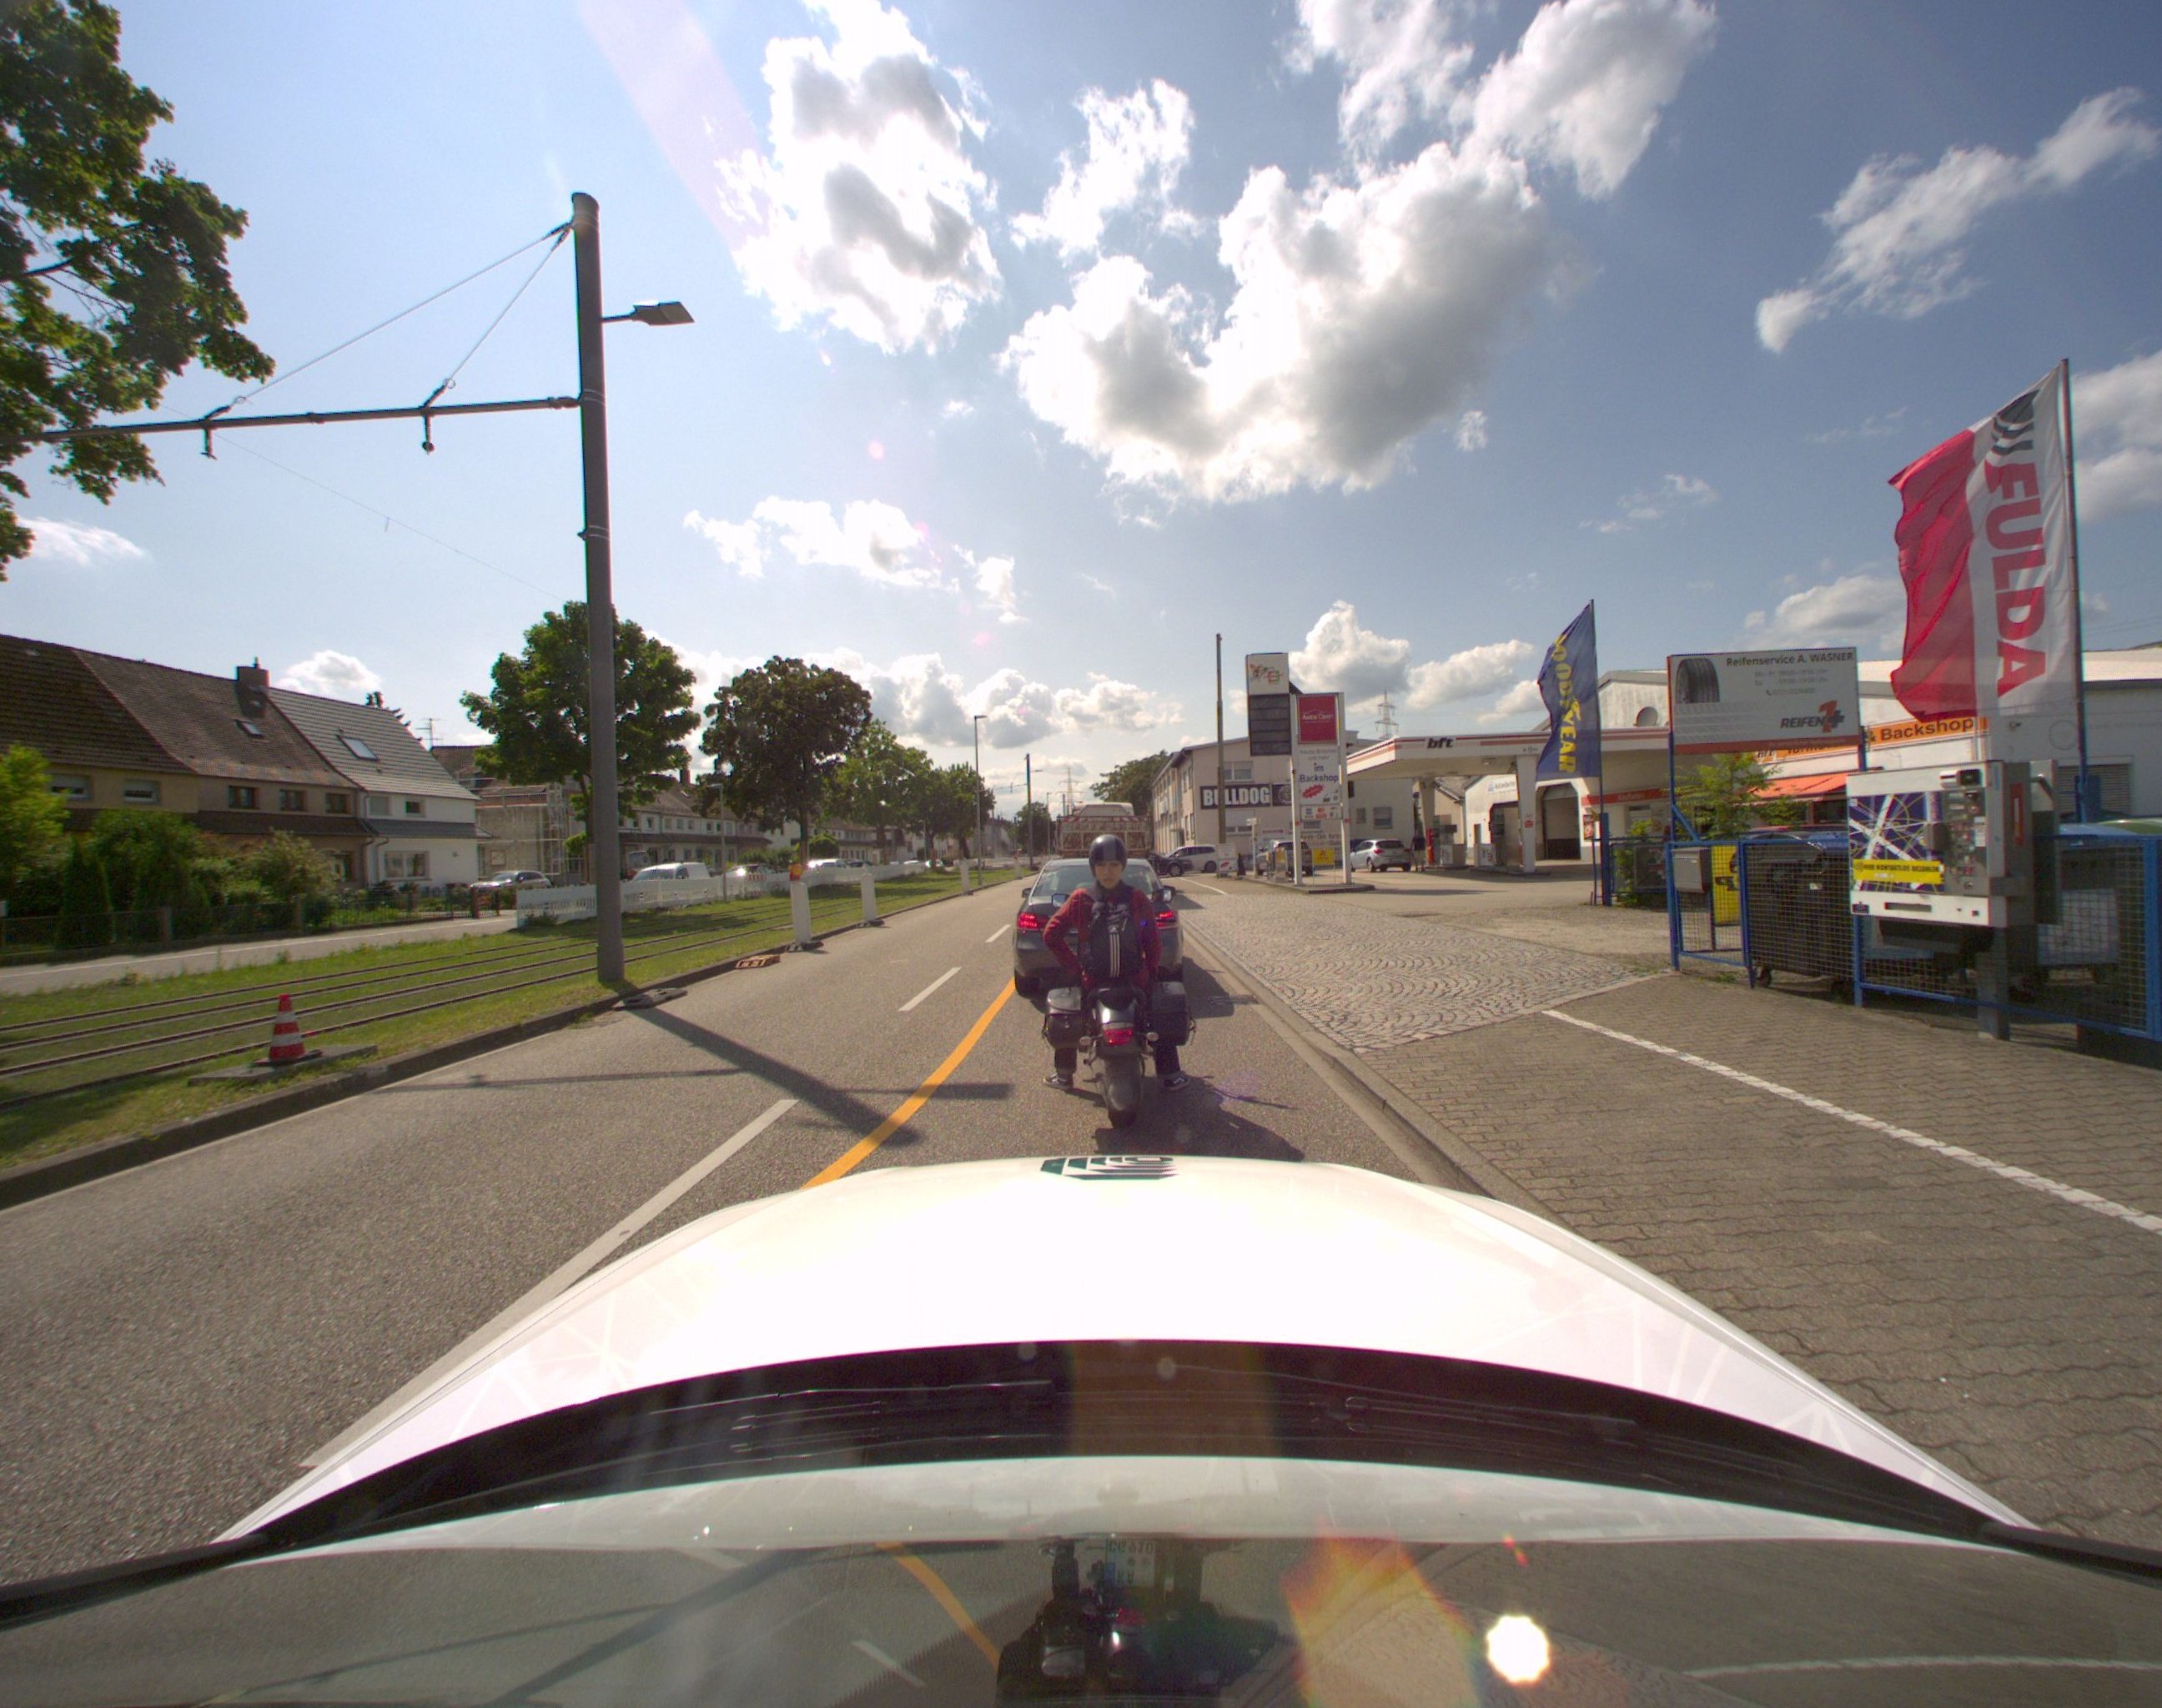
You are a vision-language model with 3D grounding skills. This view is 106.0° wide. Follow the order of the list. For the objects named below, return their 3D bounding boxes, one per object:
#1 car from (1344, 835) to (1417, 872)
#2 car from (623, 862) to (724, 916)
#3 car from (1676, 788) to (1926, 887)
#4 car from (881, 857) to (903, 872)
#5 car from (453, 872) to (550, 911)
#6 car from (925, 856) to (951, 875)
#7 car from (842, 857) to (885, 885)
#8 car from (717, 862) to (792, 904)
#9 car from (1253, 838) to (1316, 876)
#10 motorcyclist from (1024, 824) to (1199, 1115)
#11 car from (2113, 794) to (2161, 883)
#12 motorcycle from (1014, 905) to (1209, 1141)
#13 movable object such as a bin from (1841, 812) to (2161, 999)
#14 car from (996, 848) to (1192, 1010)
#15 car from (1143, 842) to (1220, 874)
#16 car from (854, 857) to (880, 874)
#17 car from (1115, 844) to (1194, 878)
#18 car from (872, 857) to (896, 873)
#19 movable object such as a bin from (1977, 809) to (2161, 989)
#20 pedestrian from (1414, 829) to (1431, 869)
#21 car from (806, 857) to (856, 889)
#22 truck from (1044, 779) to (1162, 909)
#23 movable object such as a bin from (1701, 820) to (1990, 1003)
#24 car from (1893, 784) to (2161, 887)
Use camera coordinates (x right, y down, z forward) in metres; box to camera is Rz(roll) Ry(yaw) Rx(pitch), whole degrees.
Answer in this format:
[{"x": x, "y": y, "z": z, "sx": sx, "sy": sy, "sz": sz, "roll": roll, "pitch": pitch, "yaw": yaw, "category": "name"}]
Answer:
[{"x": 13.538, "y": -0.024, "z": 37.069, "sx": 1.826, "sy": 1.479, "sz": 4.009, "roll": -3, "pitch": 0, "yaw": 1, "category": "car"}, {"x": -15.419, "y": 1.275, "z": 31.059, "sx": 1.692, "sy": 1.817, "sz": 3.862, "roll": -2, "pitch": 0, "yaw": 2, "category": "car"}, {"x": 16.600, "y": -0.372, "z": 18.962, "sx": 3.972, "sy": 2.013, "sz": 2.001, "roll": -2, "pitch": 0, "yaw": 1, "category": "car"}, {"x": -24.373, "y": 1.343, "z": 105.369, "sx": 1.692, "sy": 1.739, "sz": 4.064, "roll": -2, "pitch": 0, "yaw": 2, "category": "car"}, {"x": -27.479, "y": 1.727, "z": 38.797, "sx": 1.692, "sy": 1.593, "sz": 3.862, "roll": -2, "pitch": 0, "yaw": 2, "category": "car"}, {"x": -14.059, "y": 1.146, "z": 80.183, "sx": 1.692, "sy": 1.739, "sz": 3.862, "roll": -2, "pitch": 0, "yaw": 2, "category": "car"}, {"x": -14.866, "y": 1.138, "z": 55.761, "sx": 1.692, "sy": 1.739, "sz": 3.862, "roll": -2, "pitch": 0, "yaw": 2, "category": "car"}, {"x": -15.326, "y": 1.322, "z": 38.490, "sx": 1.692, "sy": 1.739, "sz": 4.056, "roll": -2, "pitch": 0, "yaw": 2, "category": "car"}, {"x": 9.068, "y": 0.121, "z": 36.577, "sx": 1.826, "sy": 1.536, "sz": 4.009, "roll": -3, "pitch": 0, "yaw": 1, "category": "car"}, {"x": 0.191, "y": 0.651, "z": 5.197, "sx": 0.966, "sy": 1.633, "sz": 1.215, "roll": -1, "pitch": 0, "yaw": 1, "category": "motorcyclist"}, {"x": 26.350, "y": -0.434, "z": 18.184, "sx": 3.972, "sy": 2.013, "sz": 2.001, "roll": -2, "pitch": 0, "yaw": 1, "category": "car"}, {"x": 0.192, "y": 0.929, "z": 5.315, "sx": 0.972, "sy": 1.013, "sz": 2.433, "roll": -1, "pitch": 0, "yaw": 2, "category": "motorcycle"}, {"x": 8.101, "y": 0.414, "z": 7.281, "sx": 1.222, "sy": 1.454, "sz": 1.455, "roll": -2, "pitch": 0, "yaw": 0, "category": "movable object such as a bin"}, {"x": 0.156, "y": 0.718, "z": 9.857, "sx": 1.826, "sy": 1.479, "sz": 4.009, "roll": -3, "pitch": 0, "yaw": 1, "category": "car"}, {"x": 5.766, "y": 0.227, "z": 47.050, "sx": 4.100, "sy": 1.624, "sz": 1.682, "roll": -3, "pitch": 0, "yaw": -7, "category": "car"}, {"x": -24.460, "y": 1.300, "z": 93.142, "sx": 1.692, "sy": 1.739, "sz": 4.064, "roll": -2, "pitch": 0, "yaw": 2, "category": "car"}, {"x": 3.944, "y": 0.385, "z": 43.610, "sx": 4.085, "sy": 1.624, "sz": 1.688, "roll": -2, "pitch": 0, "yaw": 5, "category": "car"}, {"x": -24.044, "y": 1.335, "z": 99.345, "sx": 1.692, "sy": 1.739, "sz": 4.064, "roll": -2, "pitch": 0, "yaw": 2, "category": "car"}, {"x": 9.446, "y": 0.333, "z": 7.191, "sx": 1.425, "sy": 1.454, "sz": 1.455, "roll": -2, "pitch": 0, "yaw": 0, "category": "movable object such as a bin"}, {"x": 14.841, "y": -0.210, "z": 35.388, "sx": 0.628, "sy": 1.683, "sz": 0.626, "roll": -2, "pitch": 0, "yaw": 23, "category": "pedestrian"}, {"x": -15.102, "y": 1.110, "z": 49.395, "sx": 1.692, "sy": 1.739, "sz": 3.862, "roll": -2, "pitch": 0, "yaw": 2, "category": "car"}, {"x": 0.641, "y": -0.284, "z": 25.606, "sx": 2.960, "sy": 3.304, "sz": 8.407, "roll": -2, "pitch": 0, "yaw": 1, "category": "truck"}, {"x": 6.822, "y": 0.468, "z": 7.405, "sx": 1.222, "sy": 1.454, "sz": 1.455, "roll": -2, "pitch": 0, "yaw": 0, "category": "movable object such as a bin"}, {"x": 21.247, "y": -0.402, "z": 18.269, "sx": 3.972, "sy": 2.013, "sz": 2.001, "roll": -2, "pitch": 0, "yaw": 1, "category": "car"}]
